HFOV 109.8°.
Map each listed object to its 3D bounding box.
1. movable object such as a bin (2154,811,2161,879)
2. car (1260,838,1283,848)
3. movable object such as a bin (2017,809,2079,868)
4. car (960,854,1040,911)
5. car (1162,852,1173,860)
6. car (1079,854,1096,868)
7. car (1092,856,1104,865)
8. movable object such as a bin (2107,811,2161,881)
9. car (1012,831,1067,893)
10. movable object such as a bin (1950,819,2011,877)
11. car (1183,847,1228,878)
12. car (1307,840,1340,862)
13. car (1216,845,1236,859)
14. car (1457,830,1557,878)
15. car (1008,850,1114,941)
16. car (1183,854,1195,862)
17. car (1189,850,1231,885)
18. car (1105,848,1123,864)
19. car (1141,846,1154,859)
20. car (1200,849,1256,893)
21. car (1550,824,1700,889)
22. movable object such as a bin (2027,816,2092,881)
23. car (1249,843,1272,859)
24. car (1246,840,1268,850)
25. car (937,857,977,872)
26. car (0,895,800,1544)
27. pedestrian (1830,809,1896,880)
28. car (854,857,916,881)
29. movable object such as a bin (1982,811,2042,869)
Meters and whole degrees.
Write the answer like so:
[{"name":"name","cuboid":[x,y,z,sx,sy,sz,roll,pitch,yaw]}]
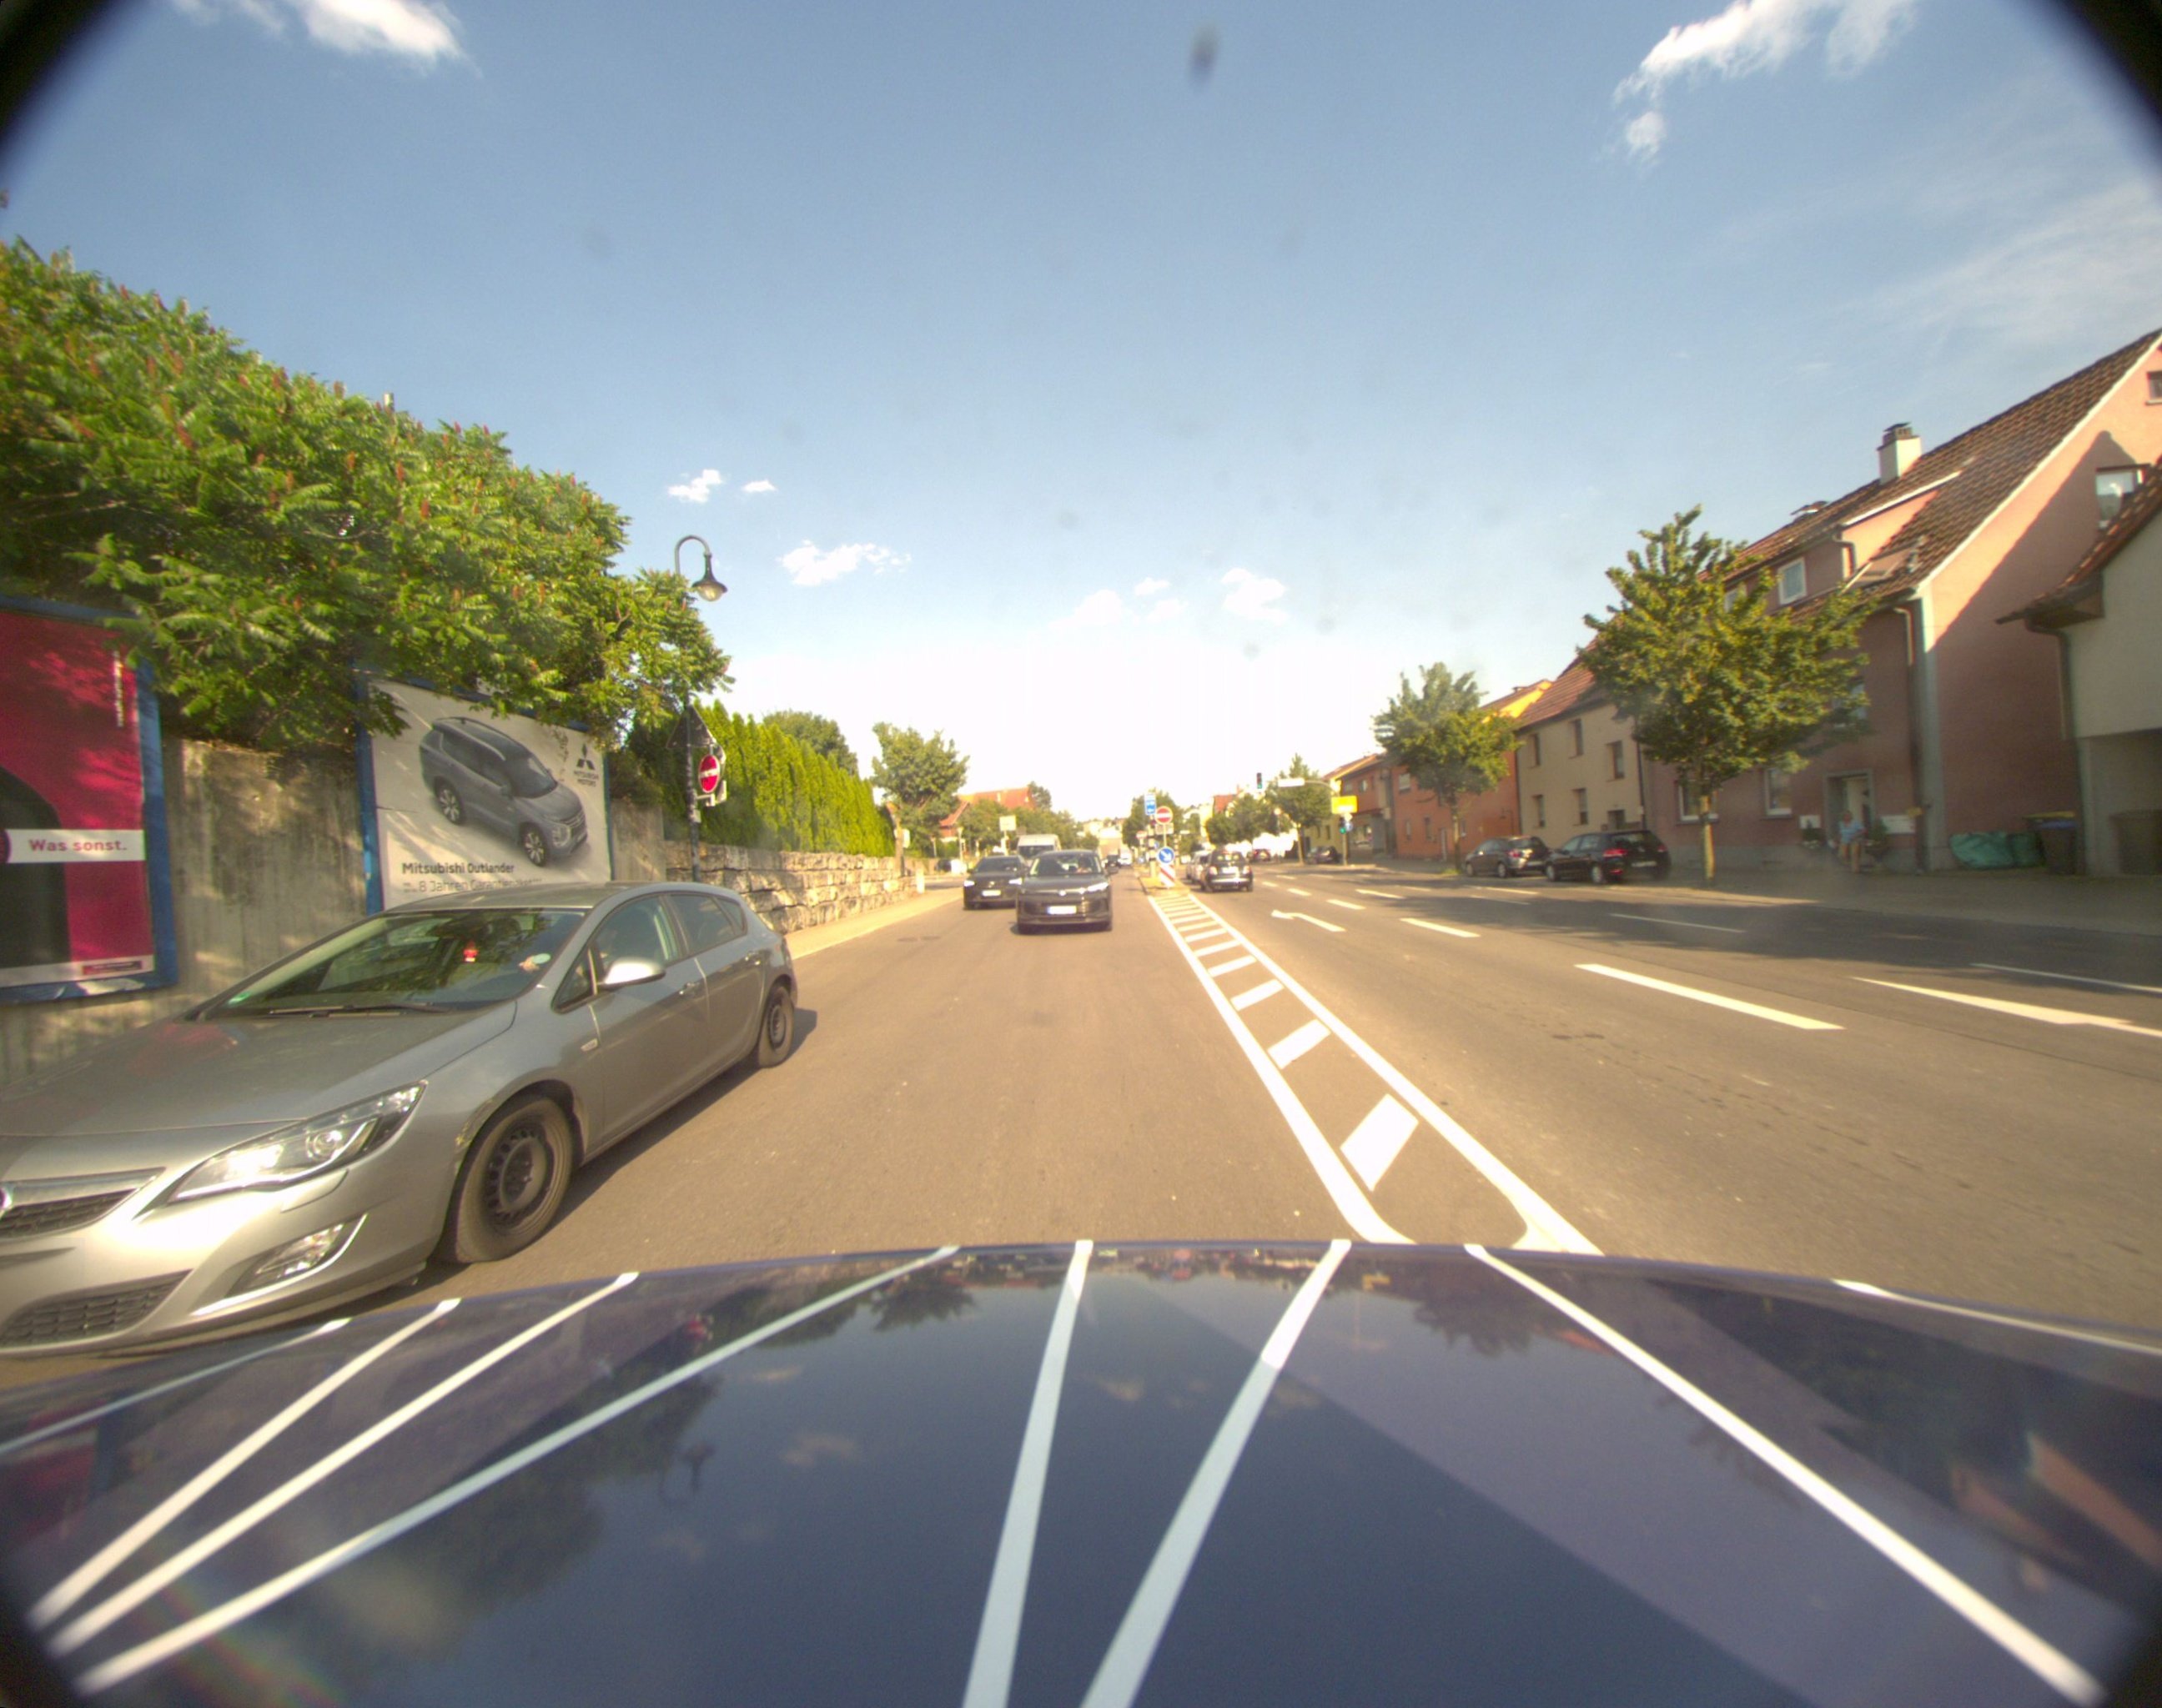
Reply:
[{"name":"movable object such as a bin","cuboid":[18.474,-0.162,12.574,0.567,1.136,0.576,-3,0,-1]},{"name":"car","cuboid":[30.648,-1.806,122.182,3.437,1.534,1.617,-2,0,-35]},{"name":"movable object such as a bin","cuboid":[19.313,-0.298,15.189,0.505,1.136,0.546,-3,0,6]},{"name":"car","cuboid":[-2.472,0.832,24.096,1.791,1.596,4.057,-3,0,3]},{"name":"car","cuboid":[16.511,0.422,145.277,1.761,1.403,4.001,-3,0,3]},{"name":"car","cuboid":[0.721,0.702,79.274,1.515,1.353,2.956,-3,0,4]},{"name":"car","cuboid":[2.700,0.955,119.790,1.529,1.353,2.794,-3,0,7]},{"name":"movable object such as a bin","cuboid":[17.668,-0.140,12.575,0.567,1.136,0.576,-3,0,-1]},{"name":"car","cuboid":[-1.887,0.347,36.818,2.040,2.642,6.649,-3,0,1]},{"name":"movable object such as a bin","cuboid":[18.171,-0.121,15.352,0.552,1.136,0.530,-3,0,6]},{"name":"car","cuboid":[6.517,0.433,40.145,1.839,1.479,4.567,-3,0,3]},{"name":"car","cuboid":[18.141,-0.201,56.971,1.595,1.430,3.777,-7,-1,7]},{"name":"car","cuboid":[17.062,-0.259,89.842,1.689,1.602,4.414,-3,0,3]},{"name":"car","cuboid":[15.489,0.013,27.865,1.515,1.501,3.886,-5,0,3]},{"name":"car","cuboid":[-0.283,0.769,15.897,1.767,1.582,4.057,-3,0,3]},{"name":"car","cuboid":[19.900,0.662,140.432,1.761,1.403,4.001,-3,0,3]},{"name":"car","cuboid":[5.753,0.560,34.155,1.592,1.419,3.579,-3,1,6]},{"name":"car","cuboid":[3.988,0.238,91.382,1.816,1.861,4.002,-3,0,5]},{"name":"car","cuboid":[12.972,-0.330,149.410,2.089,2.461,5.479,-3,0,1]},{"name":"car","cuboid":[5.295,0.581,27.710,1.535,1.453,3.507,-3,0,5]},{"name":"car","cuboid":[15.074,0.052,21.349,1.669,1.523,3.904,-5,0,7]},{"name":"movable object such as a bin","cuboid":[17.426,-0.096,13.541,0.476,1.130,0.501,-3,0,4]},{"name":"car","cuboid":[19.411,-0.321,82.330,1.859,1.586,4.462,-3,0,6]},{"name":"car","cuboid":[29.370,-1.481,126.677,3.417,1.616,1.857,0,0,-38]},{"name":"car","cuboid":[-13.704,1.207,84.016,4.072,1.447,1.680,-3,0,16]},{"name":"car","cuboid":[-3.077,1.042,3.970,1.652,1.414,4.143,-1,0,0]},{"name":"pedestrian","cuboid":[18.228,-0.221,17.723,0.723,1.598,0.777,-3,1,-13]},{"name":"car","cuboid":[-13.415,1.028,52.182,3.796,1.533,1.598,-1,1,-1]},{"name":"movable object such as a bin","cuboid":[18.710,-0.278,15.284,0.505,1.136,0.530,-3,0,6]}]
